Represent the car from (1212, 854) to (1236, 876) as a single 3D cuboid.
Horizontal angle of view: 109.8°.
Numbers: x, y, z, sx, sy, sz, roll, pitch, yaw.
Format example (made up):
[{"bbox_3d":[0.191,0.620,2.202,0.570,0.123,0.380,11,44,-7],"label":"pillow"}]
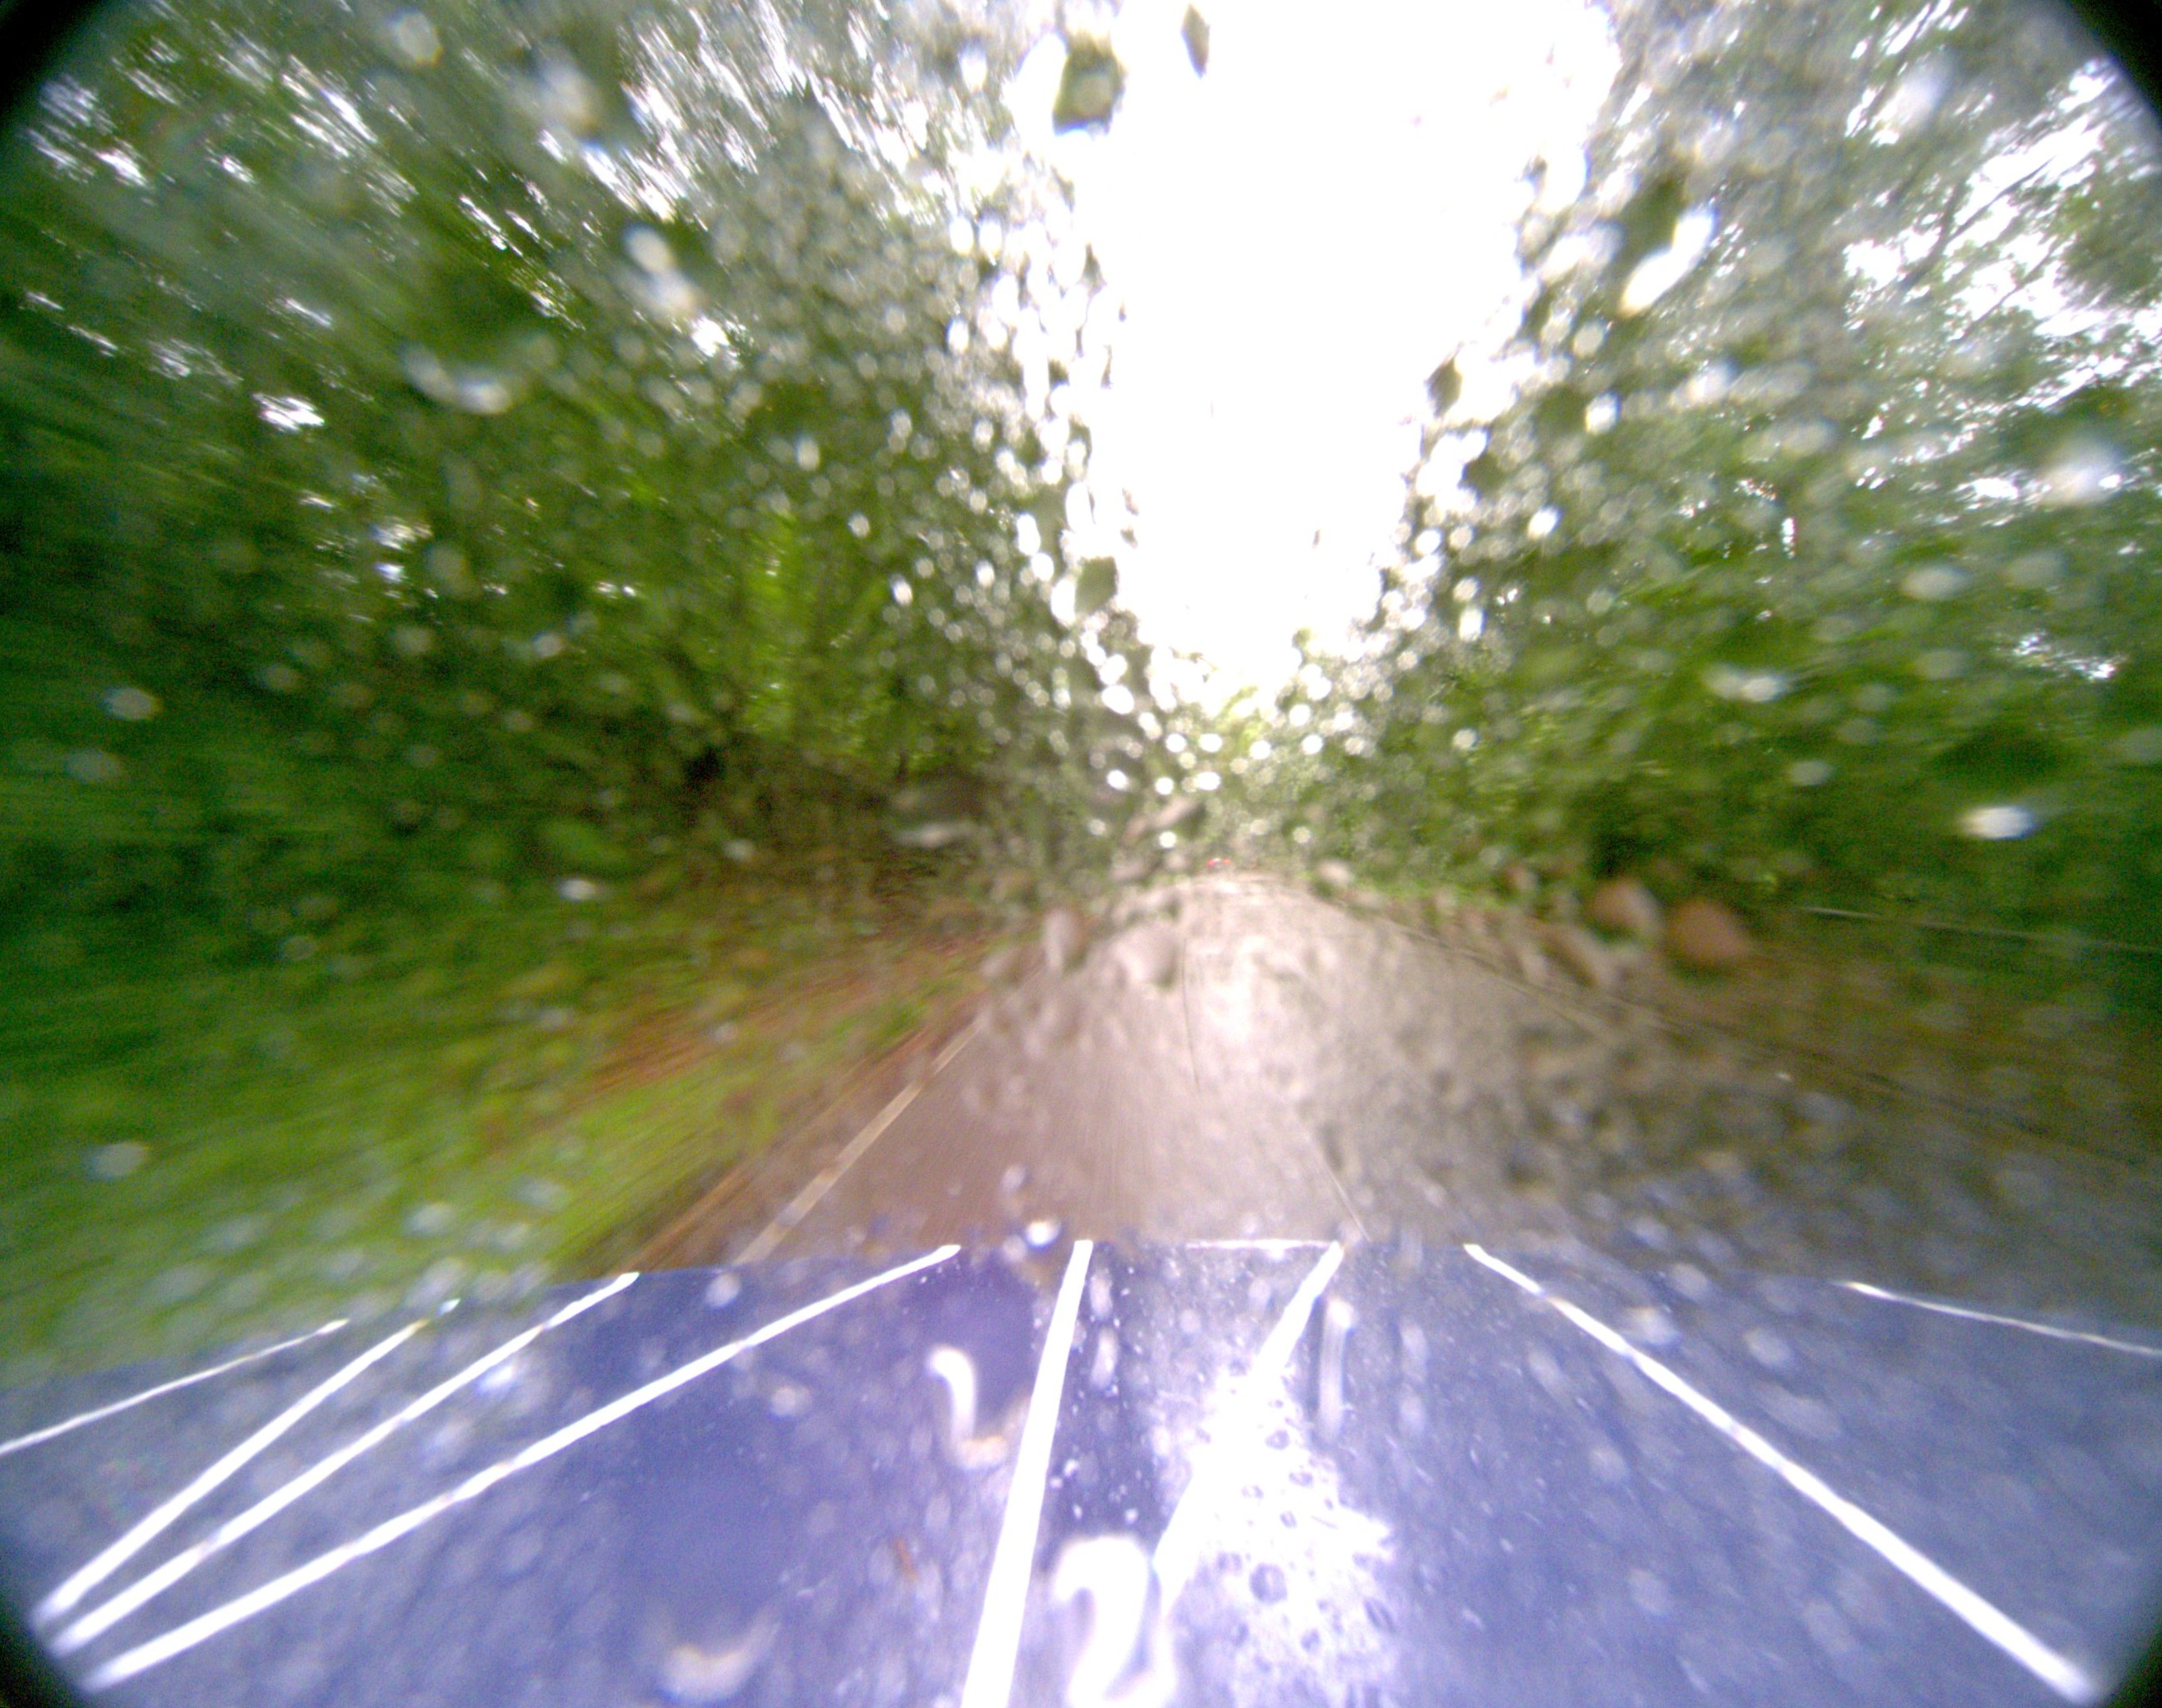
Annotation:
[{"bbox_3d":[12.541,0.958,66.645,1.997,1.739,4.003,-2,0,11],"label":"car"}]
